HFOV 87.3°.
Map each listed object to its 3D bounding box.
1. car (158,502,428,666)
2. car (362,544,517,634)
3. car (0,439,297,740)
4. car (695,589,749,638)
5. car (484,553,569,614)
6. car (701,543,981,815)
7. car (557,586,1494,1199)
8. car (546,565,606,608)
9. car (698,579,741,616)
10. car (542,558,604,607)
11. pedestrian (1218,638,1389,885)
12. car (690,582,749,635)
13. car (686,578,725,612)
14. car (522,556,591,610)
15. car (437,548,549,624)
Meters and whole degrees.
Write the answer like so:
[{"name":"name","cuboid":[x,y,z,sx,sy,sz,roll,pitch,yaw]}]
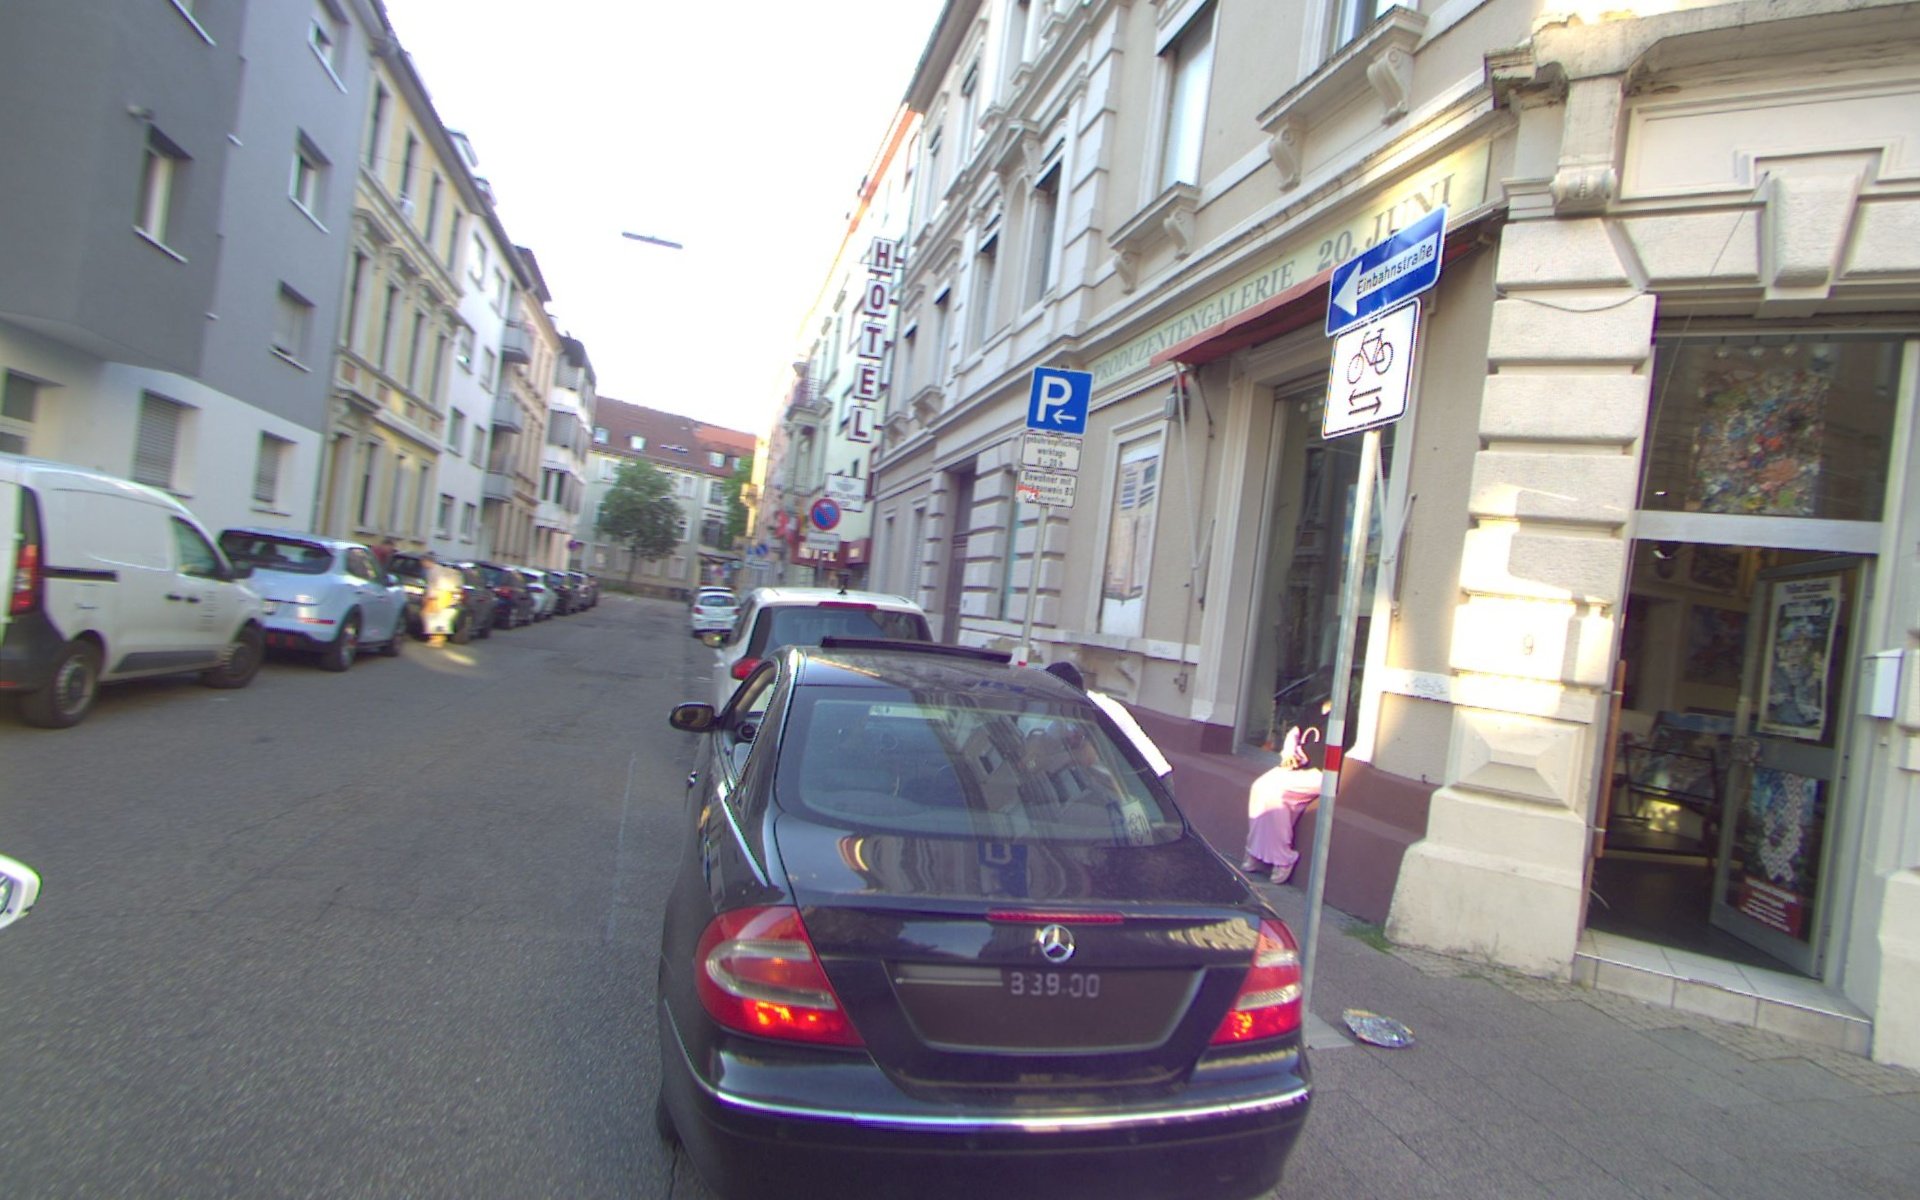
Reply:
[{"name":"car","cuboid":[-8.400,-0.249,13.138,1.744,1.583,4.346,7,0,-19]},{"name":"car","cuboid":[-9.867,-0.191,19.395,1.663,1.348,4.120,7,-1,-15]},{"name":"car","cuboid":[-7.074,-0.207,8.023,1.611,1.836,4.171,7,0,-16]},{"name":"car","cuboid":[-8.028,0.413,33.790,1.640,1.478,3.747,1,1,-15]},{"name":"car","cuboid":[-12.774,-0.489,29.822,1.610,1.490,3.742,7,0,-15]},{"name":"car","cuboid":[-1.368,0.537,9.290,1.794,1.744,4.447,7,0,-15]},{"name":"car","cuboid":[-0.282,0.789,4.359,1.860,1.425,4.717,7,0,-12]},{"name":"car","cuboid":[-18.027,-0.645,47.387,1.968,1.683,3.966,7,-1,-14]},{"name":"car","cuboid":[-13.223,-0.175,55.139,1.969,1.729,3.987,7,-1,-16]},{"name":"car","cuboid":[-15.900,-0.733,41.505,1.971,1.686,4.392,8,-1,-18]},{"name":"pedestrian","cuboid":[2.258,1.046,6.663,0.706,1.489,0.579,7,0,-15]},{"name":"car","cuboid":[-9.575,0.306,40.049,1.969,1.753,4.048,7,-1,-14]},{"name":"car","cuboid":[-15.181,-0.317,60.127,1.968,1.782,3.989,7,-1,-14]},{"name":"car","cuboid":[-14.230,-0.624,35.673,1.595,1.589,4.290,7,0,-15]},{"name":"car","cuboid":[-11.479,-0.371,24.983,1.707,1.527,3.818,7,0,-15]}]
